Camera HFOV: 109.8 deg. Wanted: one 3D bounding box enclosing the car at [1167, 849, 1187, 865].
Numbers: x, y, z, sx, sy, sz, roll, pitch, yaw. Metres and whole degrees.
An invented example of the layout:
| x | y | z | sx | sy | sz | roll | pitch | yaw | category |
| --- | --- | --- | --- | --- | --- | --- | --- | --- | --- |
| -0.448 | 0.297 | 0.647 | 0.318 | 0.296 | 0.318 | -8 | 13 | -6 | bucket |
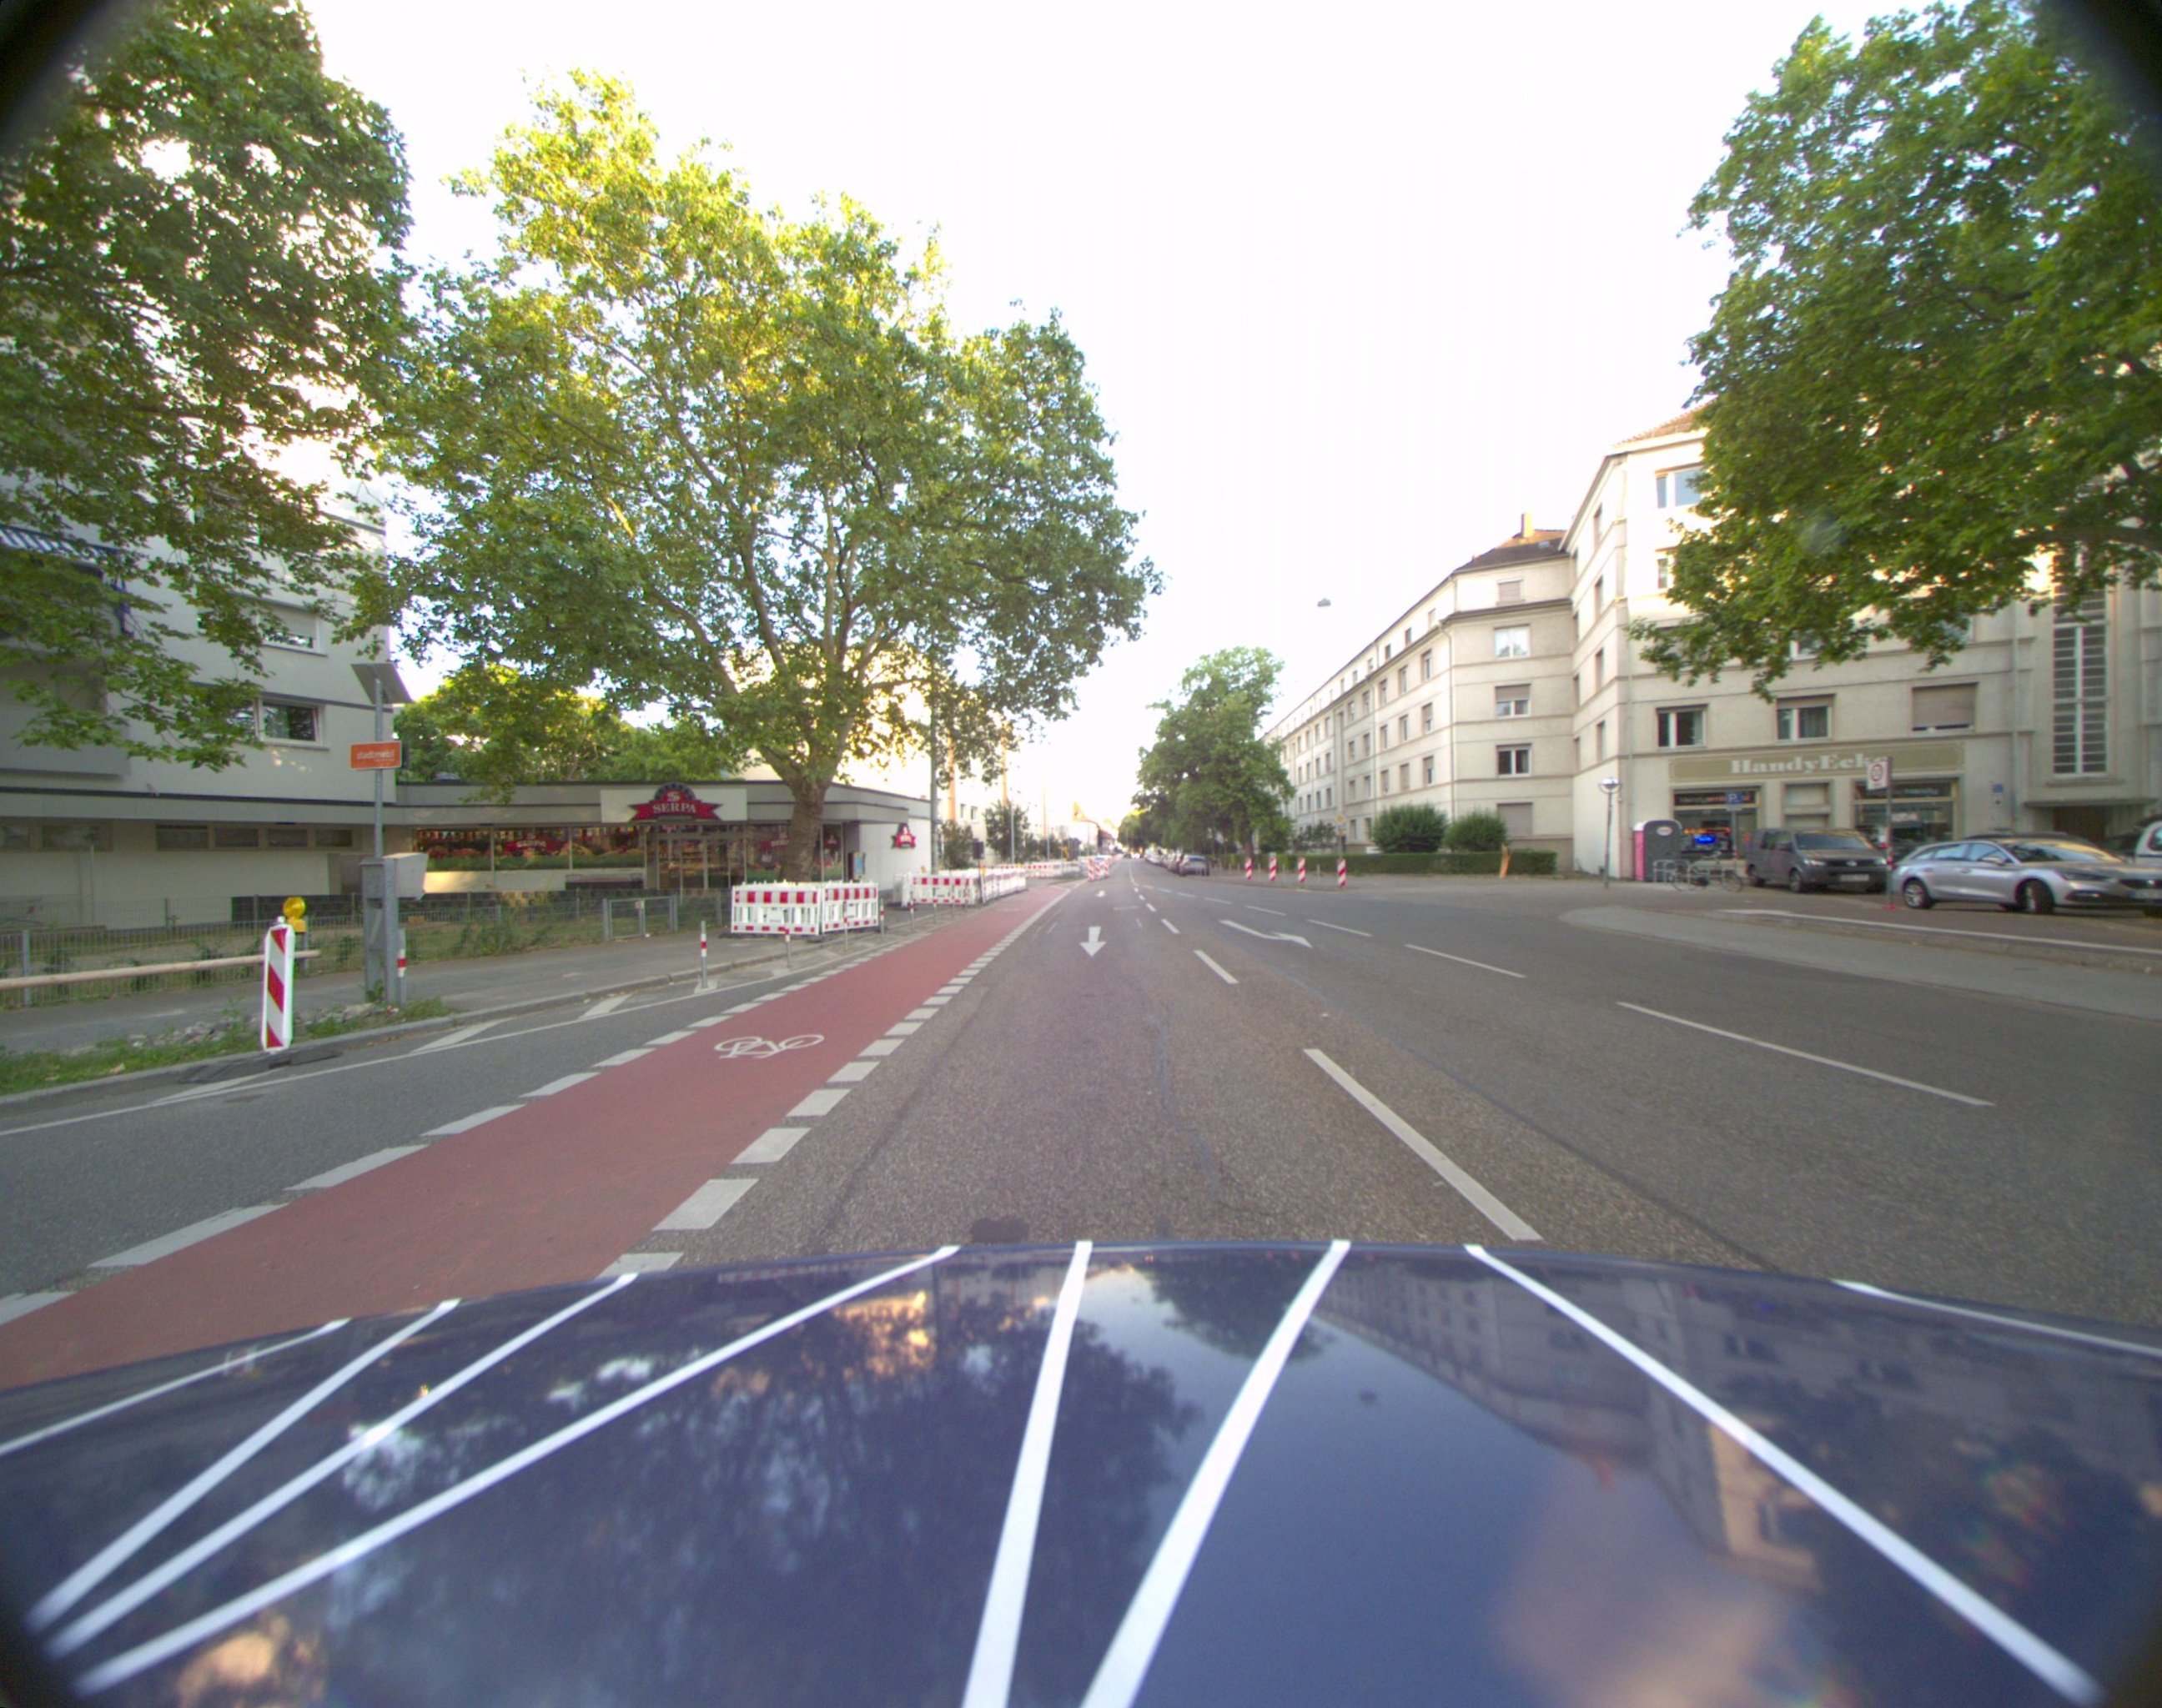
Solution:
| x | y | z | sx | sy | sz | roll | pitch | yaw | category |
| --- | --- | --- | --- | --- | --- | --- | --- | --- | --- |
| 10.199 | 0.283 | 80.930 | 1.892 | 1.591 | 4.260 | -2 | 1 | 6 | car |

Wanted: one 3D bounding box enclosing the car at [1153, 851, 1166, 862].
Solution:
| x | y | z | sx | sy | sz | roll | pitch | yaw | category |
| --- | --- | --- | --- | --- | --- | --- | --- | --- | --- |
| 12.104 | 0.358 | 117.874 | 1.892 | 1.591 | 4.260 | -2 | 1 | 6 | car |

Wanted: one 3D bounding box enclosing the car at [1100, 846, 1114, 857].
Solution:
| x | y | z | sx | sy | sz | roll | pitch | yaw | category |
| --- | --- | --- | --- | --- | --- | --- | --- | --- | --- |
| 4.167 | -0.476 | 121.834 | 1.892 | 1.651 | 4.260 | -2 | 1 | 6 | car |

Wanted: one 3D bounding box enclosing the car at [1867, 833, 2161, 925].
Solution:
| x | y | z | sx | sy | sz | roll | pitch | yaw | category |
| --- | --- | --- | --- | --- | --- | --- | --- | --- | --- |
| 18.134 | 0.437 | 14.676 | 1.996 | 1.494 | 4.647 | 0 | -1 | 15 | car |

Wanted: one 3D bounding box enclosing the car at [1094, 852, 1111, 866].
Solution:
| x | y | z | sx | sy | sz | roll | pitch | yaw | category |
| --- | --- | --- | --- | --- | --- | --- | --- | --- | --- |
| 2.872 | 0.653 | 101.035 | 1.892 | 1.591 | 4.260 | -2 | 1 | 6 | car |

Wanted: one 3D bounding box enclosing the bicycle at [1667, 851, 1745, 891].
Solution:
| x | y | z | sx | sy | sz | roll | pitch | yaw | category |
| --- | --- | --- | --- | --- | --- | --- | --- | --- | --- |
| 19.401 | 0.526 | 23.616 | 1.802 | 1.199 | 0.648 | -1 | 2 | 33 | bicycle |

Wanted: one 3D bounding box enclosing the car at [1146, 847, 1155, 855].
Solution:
| x | y | z | sx | sy | sz | roll | pitch | yaw | category |
| --- | --- | --- | --- | --- | --- | --- | --- | --- | --- |
| 15.174 | -0.669 | 166.079 | 1.892 | 1.591 | 4.260 | -2 | 1 | 6 | car |

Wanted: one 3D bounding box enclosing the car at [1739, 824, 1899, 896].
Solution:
| x | y | z | sx | sy | sz | roll | pitch | yaw | category |
| --- | --- | --- | --- | --- | --- | --- | --- | --- | --- |
| 22.612 | 0.076 | 23.558 | 1.995 | 1.945 | 4.646 | 0 | 3 | 23 | car |

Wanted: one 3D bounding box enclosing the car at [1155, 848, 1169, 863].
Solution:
| x | y | z | sx | sy | sz | roll | pitch | yaw | category |
| --- | --- | --- | --- | --- | --- | --- | --- | --- | --- |
| 11.535 | 0.204 | 108.203 | 1.892 | 1.855 | 4.260 | -2 | 1 | 6 | car |

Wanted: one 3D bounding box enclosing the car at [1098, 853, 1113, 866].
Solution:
| x | y | z | sx | sy | sz | roll | pitch | yaw | category |
| --- | --- | --- | --- | --- | --- | --- | --- | --- | --- |
| 3.680 | 0.812 | 113.322 | 1.892 | 1.726 | 4.260 | -2 | 1 | 6 | car |

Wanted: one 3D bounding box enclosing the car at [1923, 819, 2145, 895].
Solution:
| x | y | z | sx | sy | sz | roll | pitch | yaw | category |
| --- | --- | --- | --- | --- | --- | --- | --- | --- | --- |
| 27.119 | -0.027 | 21.920 | 1.995 | 1.945 | 4.646 | 0 | 3 | 23 | car |

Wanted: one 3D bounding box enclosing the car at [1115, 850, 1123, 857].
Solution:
| x | y | z | sx | sy | sz | roll | pitch | yaw | category |
| --- | --- | --- | --- | --- | --- | --- | --- | --- | --- |
| 9.757 | -0.064 | 196.479 | 1.892 | 1.591 | 4.260 | -2 | 1 | 6 | car |

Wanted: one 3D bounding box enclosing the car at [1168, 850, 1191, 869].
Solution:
| x | y | z | sx | sy | sz | roll | pitch | yaw | category |
| --- | --- | --- | --- | --- | --- | --- | --- | --- | --- |
| 9.001 | 0.493 | 69.465 | 1.892 | 1.591 | 4.260 | -2 | 1 | 6 | car |

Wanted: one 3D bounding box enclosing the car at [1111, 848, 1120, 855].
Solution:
| x | y | z | sx | sy | sz | roll | pitch | yaw | category |
| --- | --- | --- | --- | --- | --- | --- | --- | --- | --- |
| 8.466 | -0.580 | 184.833 | 1.892 | 1.591 | 4.260 | -2 | 1 | 6 | car |

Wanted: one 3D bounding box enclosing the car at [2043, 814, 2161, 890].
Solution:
| x | y | z | sx | sy | sz | roll | pitch | yaw | category |
| --- | --- | --- | --- | --- | --- | --- | --- | --- | --- |
| 29.616 | -0.102 | 20.832 | 1.995 | 1.945 | 4.646 | 0 | 3 | 23 | car |

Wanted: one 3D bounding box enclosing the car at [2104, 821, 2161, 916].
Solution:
| x | y | z | sx | sy | sz | roll | pitch | yaw | category |
| --- | --- | --- | --- | --- | --- | --- | --- | --- | --- |
| 20.611 | 0.258 | 12.715 | 1.995 | 1.771 | 4.648 | 0 | -1 | 21 | car |

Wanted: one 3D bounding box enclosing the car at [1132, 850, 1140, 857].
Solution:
| x | y | z | sx | sy | sz | roll | pitch | yaw | category |
| --- | --- | --- | --- | --- | --- | --- | --- | --- | --- |
| 16.304 | -0.164 | 224.757 | 1.999 | 1.838 | 3.999 | -2 | 1 | 0 | car |

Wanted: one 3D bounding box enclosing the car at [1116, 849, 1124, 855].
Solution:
| x | y | z | sx | sy | sz | roll | pitch | yaw | category |
| --- | --- | --- | --- | --- | --- | --- | --- | --- | --- |
| 10.644 | -0.486 | 205.673 | 1.892 | 1.591 | 4.260 | -2 | 1 | 6 | car |

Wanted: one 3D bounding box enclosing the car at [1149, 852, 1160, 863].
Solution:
| x | y | z | sx | sy | sz | roll | pitch | yaw | category |
| --- | --- | --- | --- | --- | --- | --- | --- | --- | --- |
| 13.858 | 0.557 | 143.283 | 1.892 | 1.868 | 4.946 | -2 | 1 | 6 | car |

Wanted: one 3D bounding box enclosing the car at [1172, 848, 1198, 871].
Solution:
| x | y | z | sx | sy | sz | roll | pitch | yaw | category |
| --- | --- | --- | --- | --- | --- | --- | --- | --- | --- |
| 8.465 | 0.400 | 62.010 | 1.892 | 1.681 | 4.260 | -2 | 1 | 6 | car |

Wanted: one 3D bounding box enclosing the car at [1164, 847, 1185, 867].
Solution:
| x | y | z | sx | sy | sz | roll | pitch | yaw | category |
| --- | --- | --- | --- | --- | --- | --- | --- | --- | --- |
| 9.272 | 0.274 | 75.411 | 1.892 | 1.764 | 4.260 | -2 | 1 | 6 | car |

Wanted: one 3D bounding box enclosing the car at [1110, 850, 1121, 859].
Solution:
| x | y | z | sx | sy | sz | roll | pitch | yaw | category |
| --- | --- | --- | --- | --- | --- | --- | --- | --- | --- |
| 7.145 | 0.117 | 156.224 | 1.892 | 1.591 | 4.260 | -2 | 1 | 6 | car |

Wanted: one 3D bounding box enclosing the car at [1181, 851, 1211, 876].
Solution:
| x | y | z | sx | sy | sz | roll | pitch | yaw | category |
| --- | --- | --- | --- | --- | --- | --- | --- | --- | --- |
| 8.118 | 0.665 | 53.946 | 1.892 | 1.591 | 4.001 | -2 | 1 | 6 | car |

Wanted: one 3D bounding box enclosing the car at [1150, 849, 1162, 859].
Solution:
| x | y | z | sx | sy | sz | roll | pitch | yaw | category |
| --- | --- | --- | --- | --- | --- | --- | --- | --- | --- |
| 13.117 | 0.010 | 132.796 | 1.892 | 1.591 | 4.260 | -2 | 1 | 6 | car |
